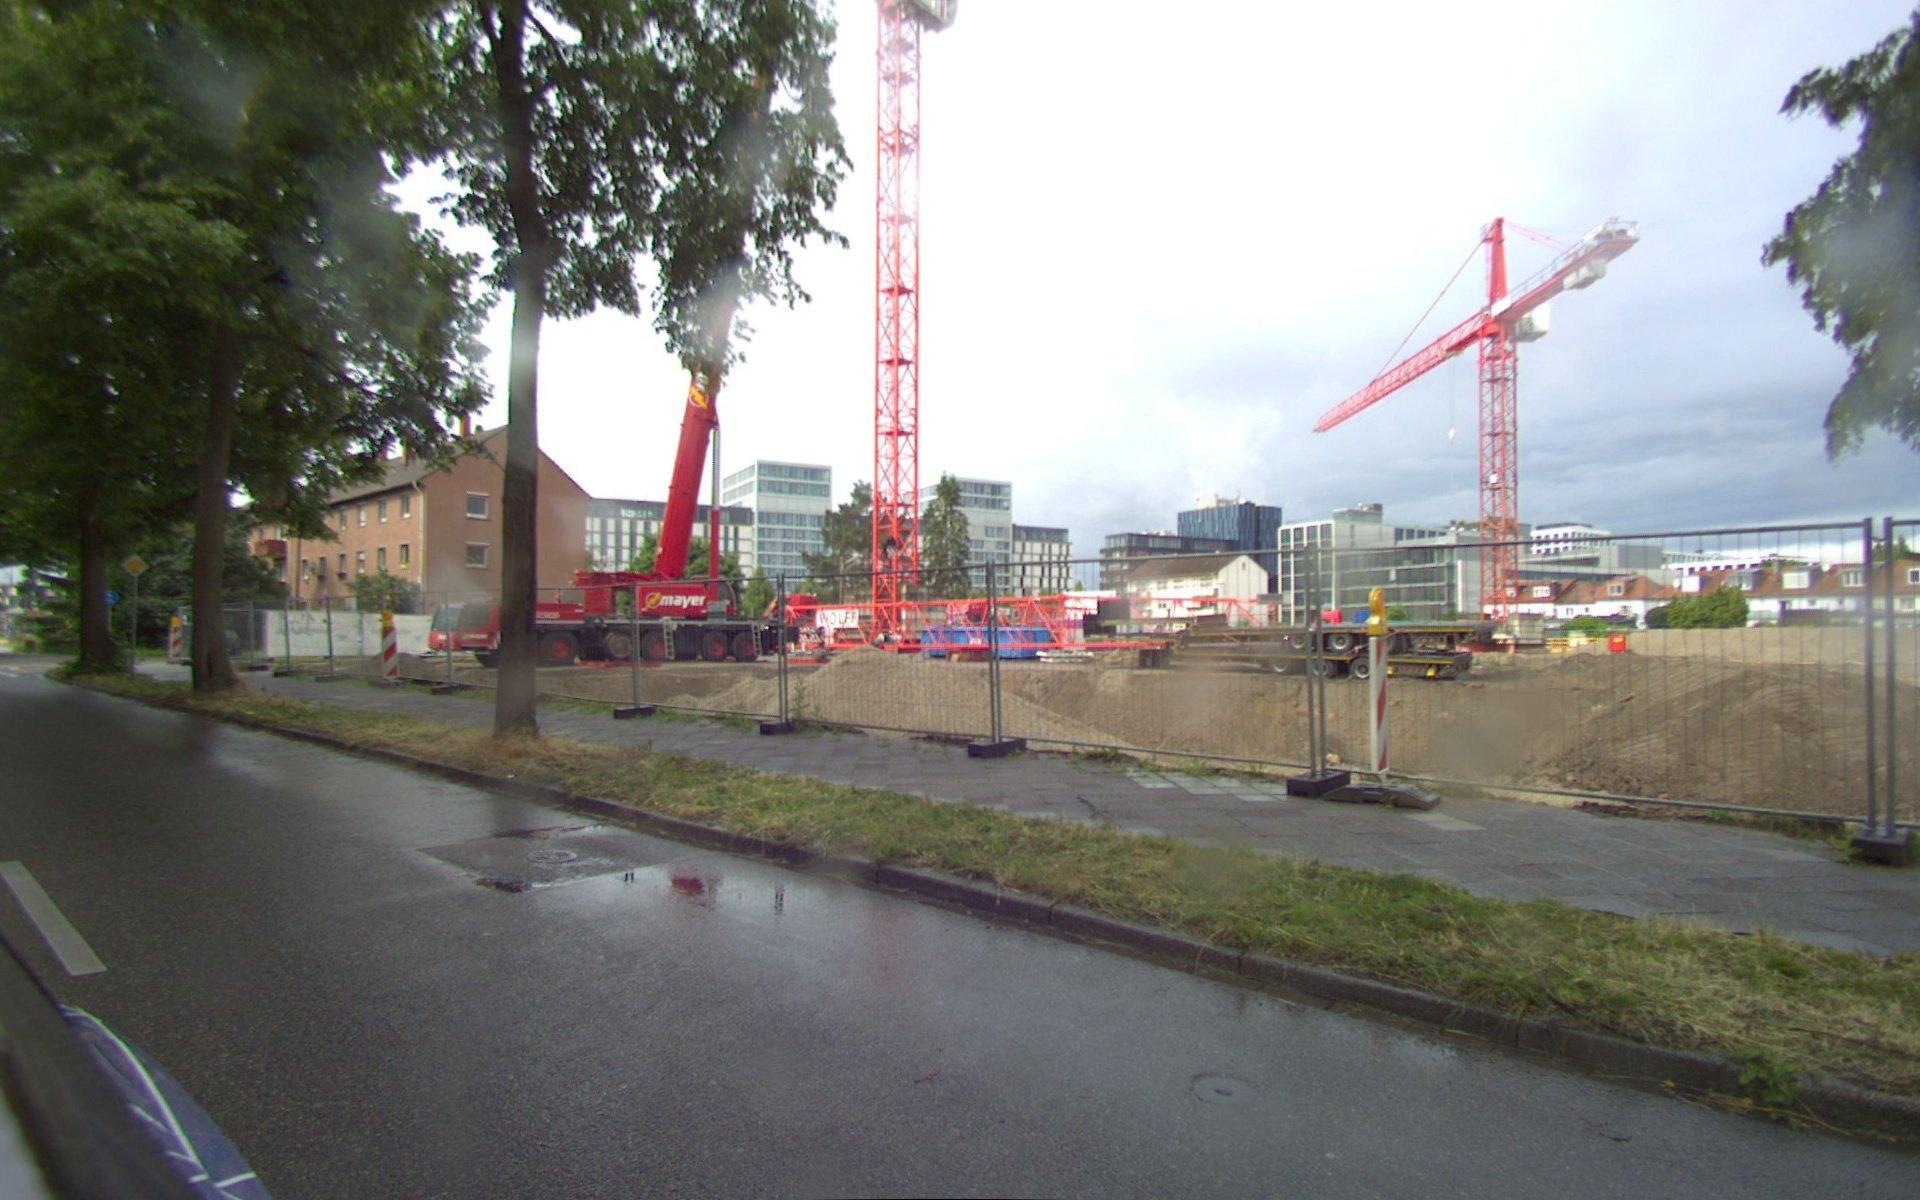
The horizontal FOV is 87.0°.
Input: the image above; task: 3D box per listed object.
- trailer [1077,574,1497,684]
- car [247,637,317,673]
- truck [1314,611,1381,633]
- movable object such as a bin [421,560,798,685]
[{"bbox_3d":[10.976,0.913,36.259,14.302,3.257,2.930,-1,1,41],"label":"trailer"},{"bbox_3d":[-32.562,2.625,48.574,3.996,1.541,1.672,-1,0,39],"label":"car"},{"bbox_3d":[39.118,2.206,102.226,6.292,2.095,1.884,-1,0,25],"label":"truck"},{"bbox_3d":[-14.326,0.778,43.827,3.102,4.592,15.727,-1,0,44],"label":"movable object such as a bin"}]
